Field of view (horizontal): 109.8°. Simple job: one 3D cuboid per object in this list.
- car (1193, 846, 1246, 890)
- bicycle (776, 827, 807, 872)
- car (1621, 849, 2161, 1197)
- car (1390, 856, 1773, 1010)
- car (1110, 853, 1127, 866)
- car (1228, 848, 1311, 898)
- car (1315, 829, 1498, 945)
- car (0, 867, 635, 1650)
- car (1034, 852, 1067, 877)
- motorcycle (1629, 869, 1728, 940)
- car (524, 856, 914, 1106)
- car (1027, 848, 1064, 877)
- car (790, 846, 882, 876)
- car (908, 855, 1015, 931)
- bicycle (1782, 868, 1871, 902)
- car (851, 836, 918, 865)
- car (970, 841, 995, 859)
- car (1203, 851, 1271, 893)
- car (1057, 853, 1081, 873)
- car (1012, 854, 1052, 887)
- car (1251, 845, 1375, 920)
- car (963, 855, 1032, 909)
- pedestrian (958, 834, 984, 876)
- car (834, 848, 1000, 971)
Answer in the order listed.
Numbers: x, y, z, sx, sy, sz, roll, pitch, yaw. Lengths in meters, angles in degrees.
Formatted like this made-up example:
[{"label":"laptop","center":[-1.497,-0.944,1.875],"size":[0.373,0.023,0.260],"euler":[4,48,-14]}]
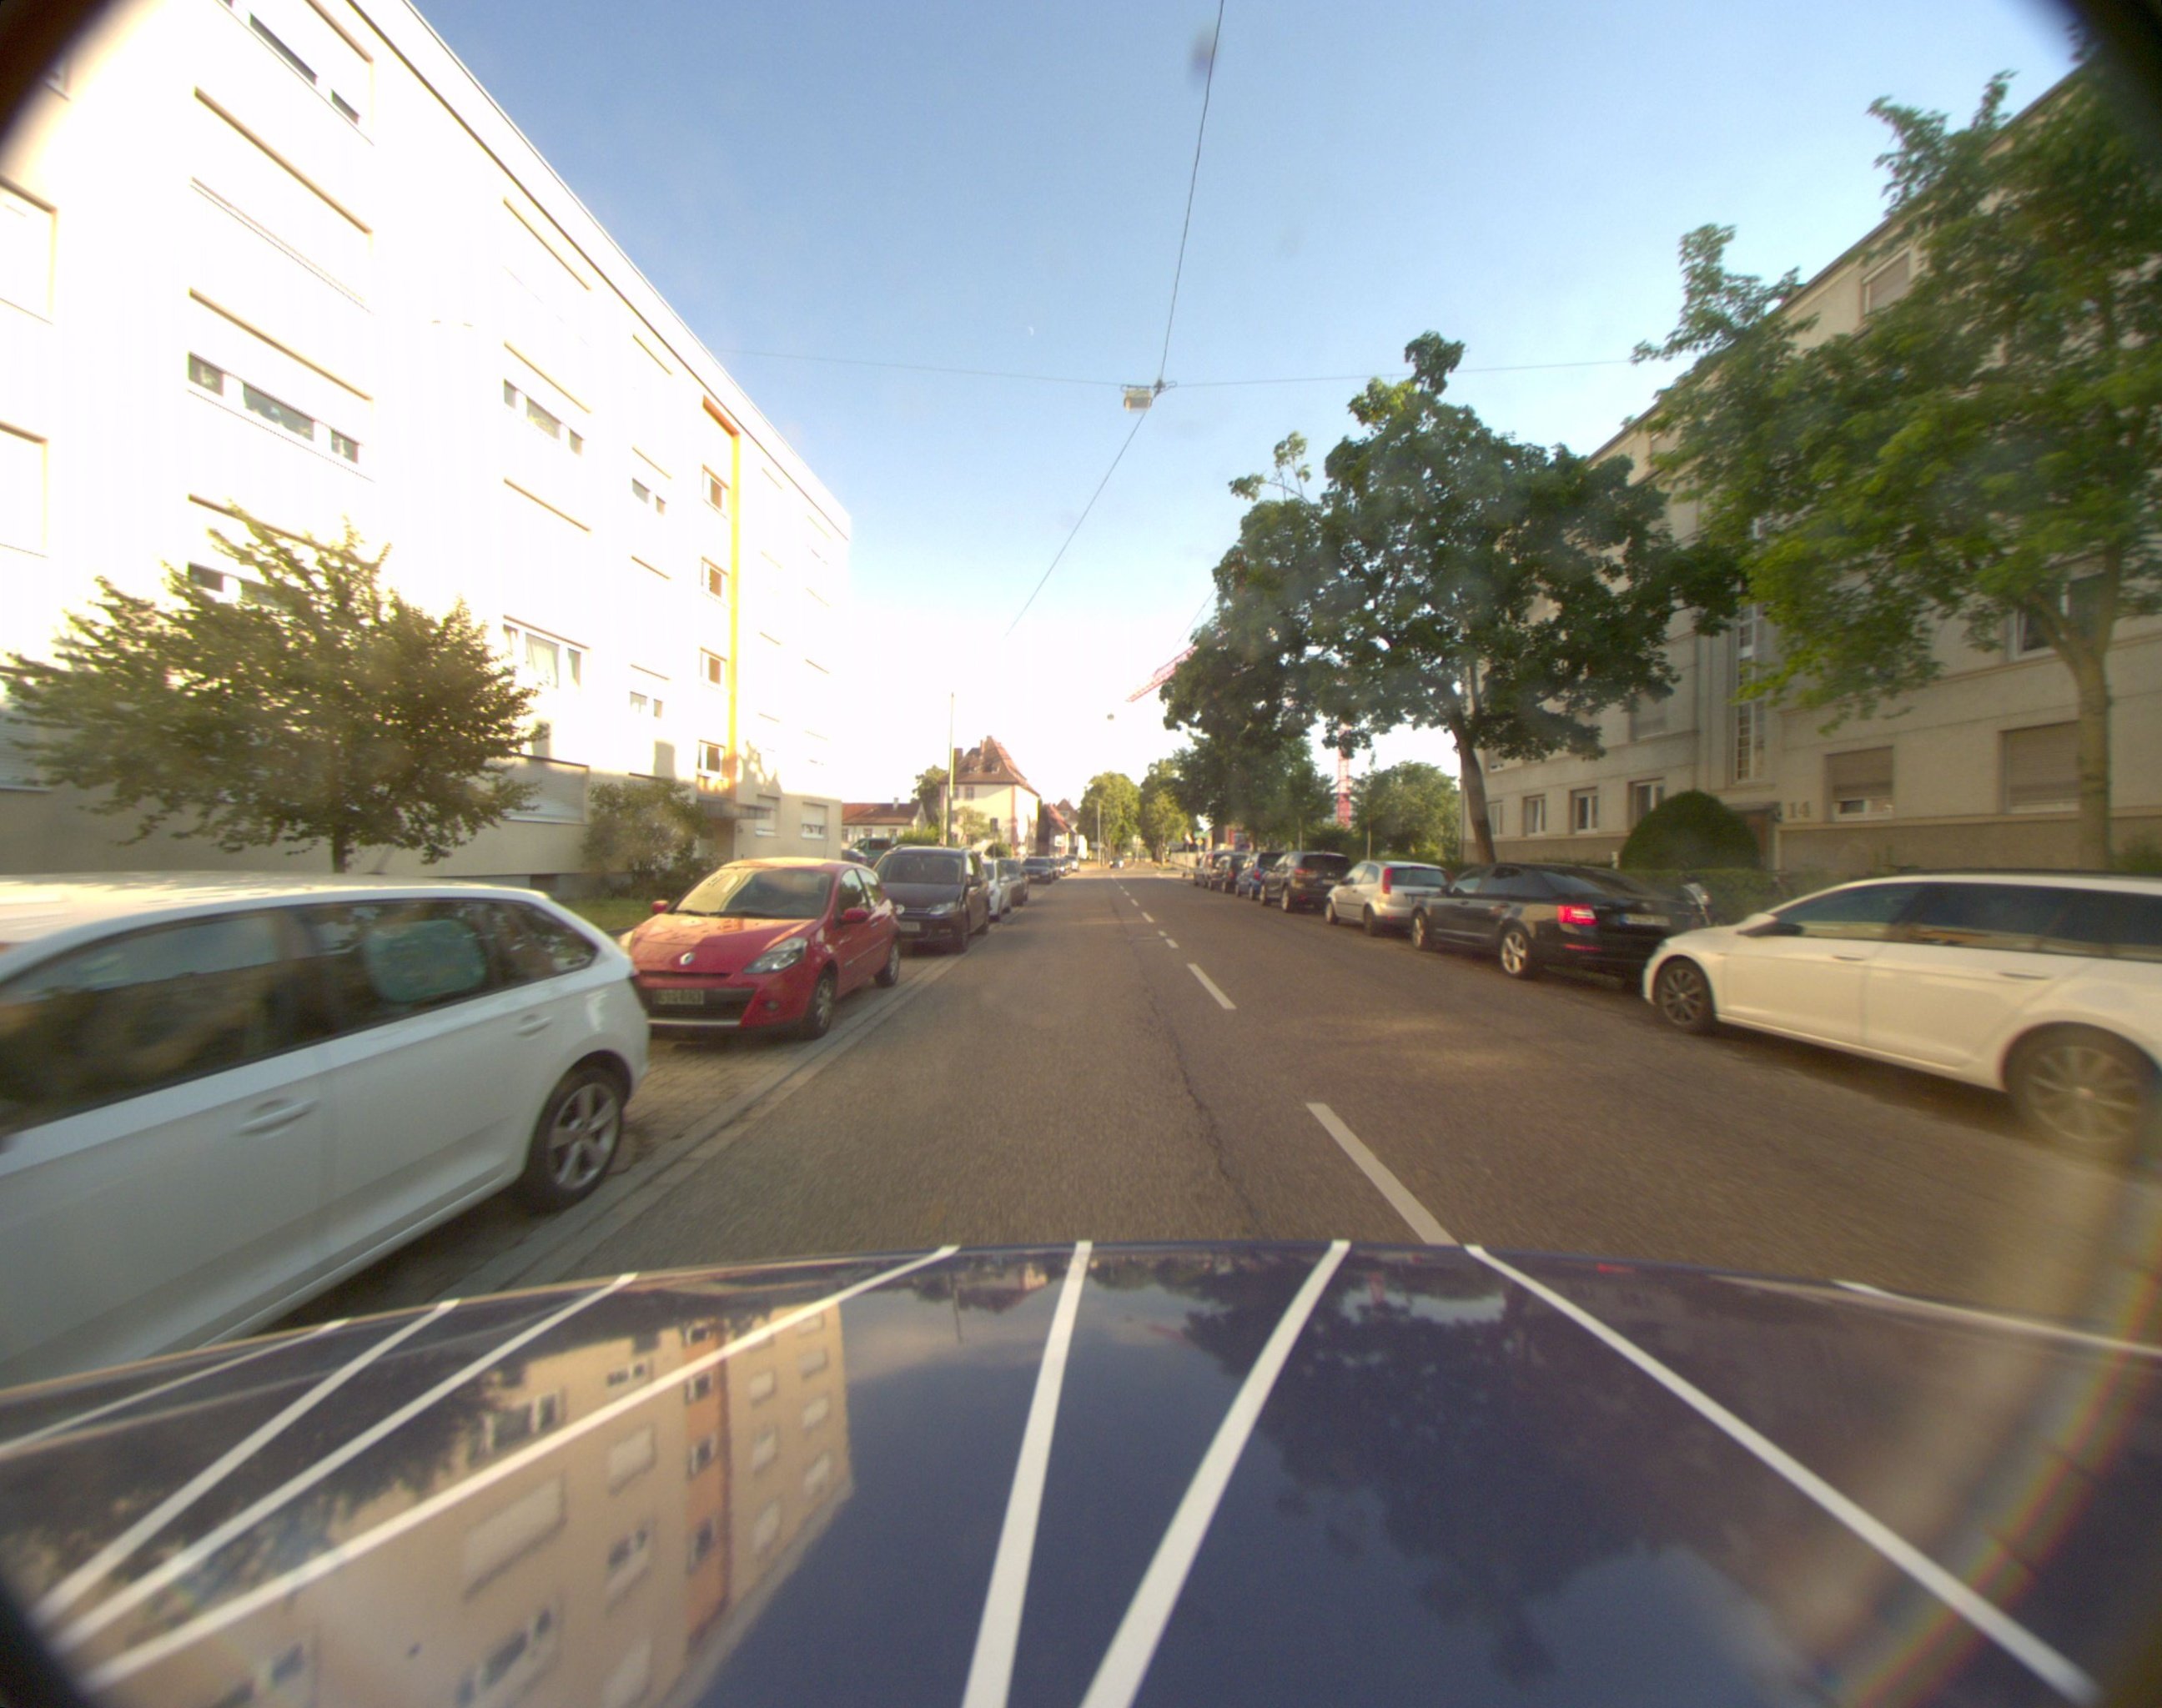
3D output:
[{"label":"car","center":[6.678,0.607,37.013],"size":[1.845,1.886,4.486],"euler":[2,1,2]},{"label":"bicycle","center":[-7.951,-0.137,20.908],"size":[0.334,1.185,1.240],"euler":[4,1,-2]},{"label":"car","center":[6.027,0.807,4.849],"size":[2.009,1.543,4.471],"euler":[2,1,2]},{"label":"car","center":[6.139,0.829,10.233],"size":[1.878,1.426,4.802],"euler":[2,1,-1]},{"label":"car","center":[4.688,0.668,94.766],"size":[1.776,1.492,3.673],"euler":[-1,0,-2]},{"label":"car","center":[6.604,0.604,27.045],"size":[1.878,1.543,3.999],"euler":[-2,1,-1]},{"label":"car","center":[6.382,0.546,15.477],"size":[1.998,2.002,3.999],"euler":[2,1,1]},{"label":"car","center":[-3.114,0.891,1.671],"size":[1.776,1.445,3.999],"euler":[5,1,1]},{"label":"car","center":[-2.222,0.750,56.689],"size":[1.906,1.521,4.810],"euler":[4,1,3]},{"label":"motorcycle","center":[10.702,0.883,13.640],"size":[0.577,1.172,1.260],"euler":[-3,2,-34]},{"label":"car","center":[-3.023,0.911,7.398],"size":[1.776,1.607,3.999],"euler":[3,1,1]},{"label":"car","center":[-2.323,0.534,50.735],"size":[1.906,1.769,4.582],"euler":[1,1,3]},{"label":"car","center":[-13.422,0.362,41.726],"size":[4.486,1.593,1.732],"euler":[0,2,4]},{"label":"car","center":[-2.763,0.844,18.508],"size":[1.776,1.499,4.000],"euler":[-2,1,2]},{"label":"bicycle","center":[18.116,0.729,18.517],"size":[0.409,0.705,1.788],"euler":[-2,1,0]},{"label":"car","center":[-13.469,-0.251,52.213],"size":[3.996,1.784,2.000],"euler":[-2,1,2]},{"label":"car","center":[-9.824,-0.454,75.849],"size":[1.656,1.652,4.000],"euler":[-2,1,3]},{"label":"car","center":[6.442,0.694,31.797],"size":[1.878,1.543,3.999],"euler":[3,1,-1]},{"label":"car","center":[-1.154,0.833,74.027],"size":[1.925,1.769,4.810],"euler":[3,1,4]},{"label":"car","center":[-2.659,0.885,42.643],"size":[1.891,1.552,4.945],"euler":[-4,1,-1]},{"label":"car","center":[6.240,0.680,21.091],"size":[1.878,1.749,4.688],"euler":[2,1,-1]},{"label":"car","center":[-2.647,0.843,24.979],"size":[1.803,1.498,4.620],"euler":[-1,1,-1]},{"label":"pedestrian","center":[-5.088,0.044,35.142],"size":[0.891,1.880,1.279],"euler":[-2,1,1]},{"label":"car","center":[-2.637,0.796,13.421],"size":[1.776,1.668,4.646],"euler":[-2,1,1]}]
